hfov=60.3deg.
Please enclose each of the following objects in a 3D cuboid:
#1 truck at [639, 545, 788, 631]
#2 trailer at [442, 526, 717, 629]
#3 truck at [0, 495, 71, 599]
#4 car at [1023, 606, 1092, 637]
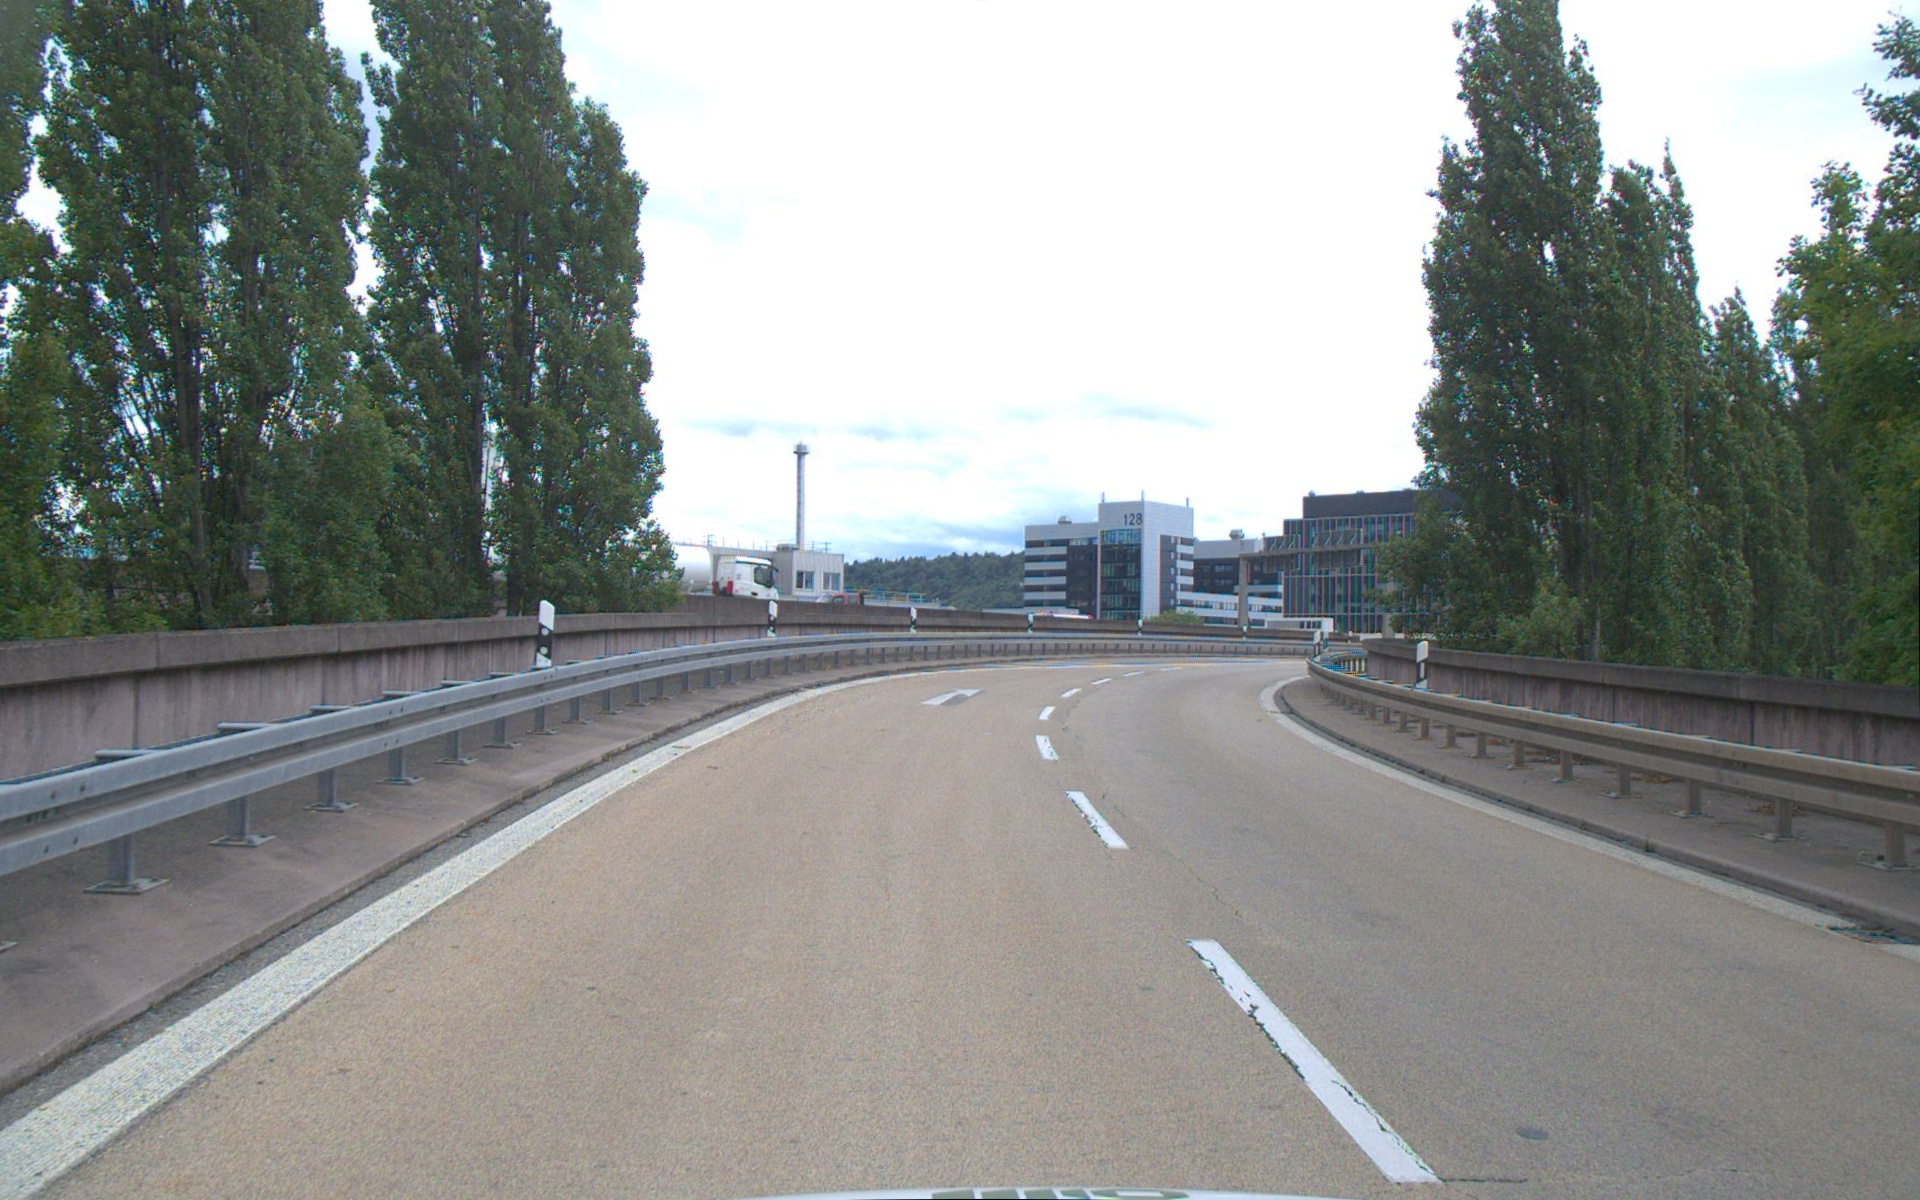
[{"bbox_3d":[-10.870,-0.453,73.170,5.885,3.491,2.749,3,-2,-31],"label":"truck"},{"bbox_3d":[-15.979,-0.819,70.030,11.006,3.803,2.771,3,-2,-31],"label":"trailer"},{"bbox_3d":[-36.337,-2.014,62.799,4.378,3.755,2.672,3,-2,-31],"label":"truck"},{"bbox_3d":[5.660,1.264,96.213,3.598,1.544,1.673,3,2,-29],"label":"car"}]
